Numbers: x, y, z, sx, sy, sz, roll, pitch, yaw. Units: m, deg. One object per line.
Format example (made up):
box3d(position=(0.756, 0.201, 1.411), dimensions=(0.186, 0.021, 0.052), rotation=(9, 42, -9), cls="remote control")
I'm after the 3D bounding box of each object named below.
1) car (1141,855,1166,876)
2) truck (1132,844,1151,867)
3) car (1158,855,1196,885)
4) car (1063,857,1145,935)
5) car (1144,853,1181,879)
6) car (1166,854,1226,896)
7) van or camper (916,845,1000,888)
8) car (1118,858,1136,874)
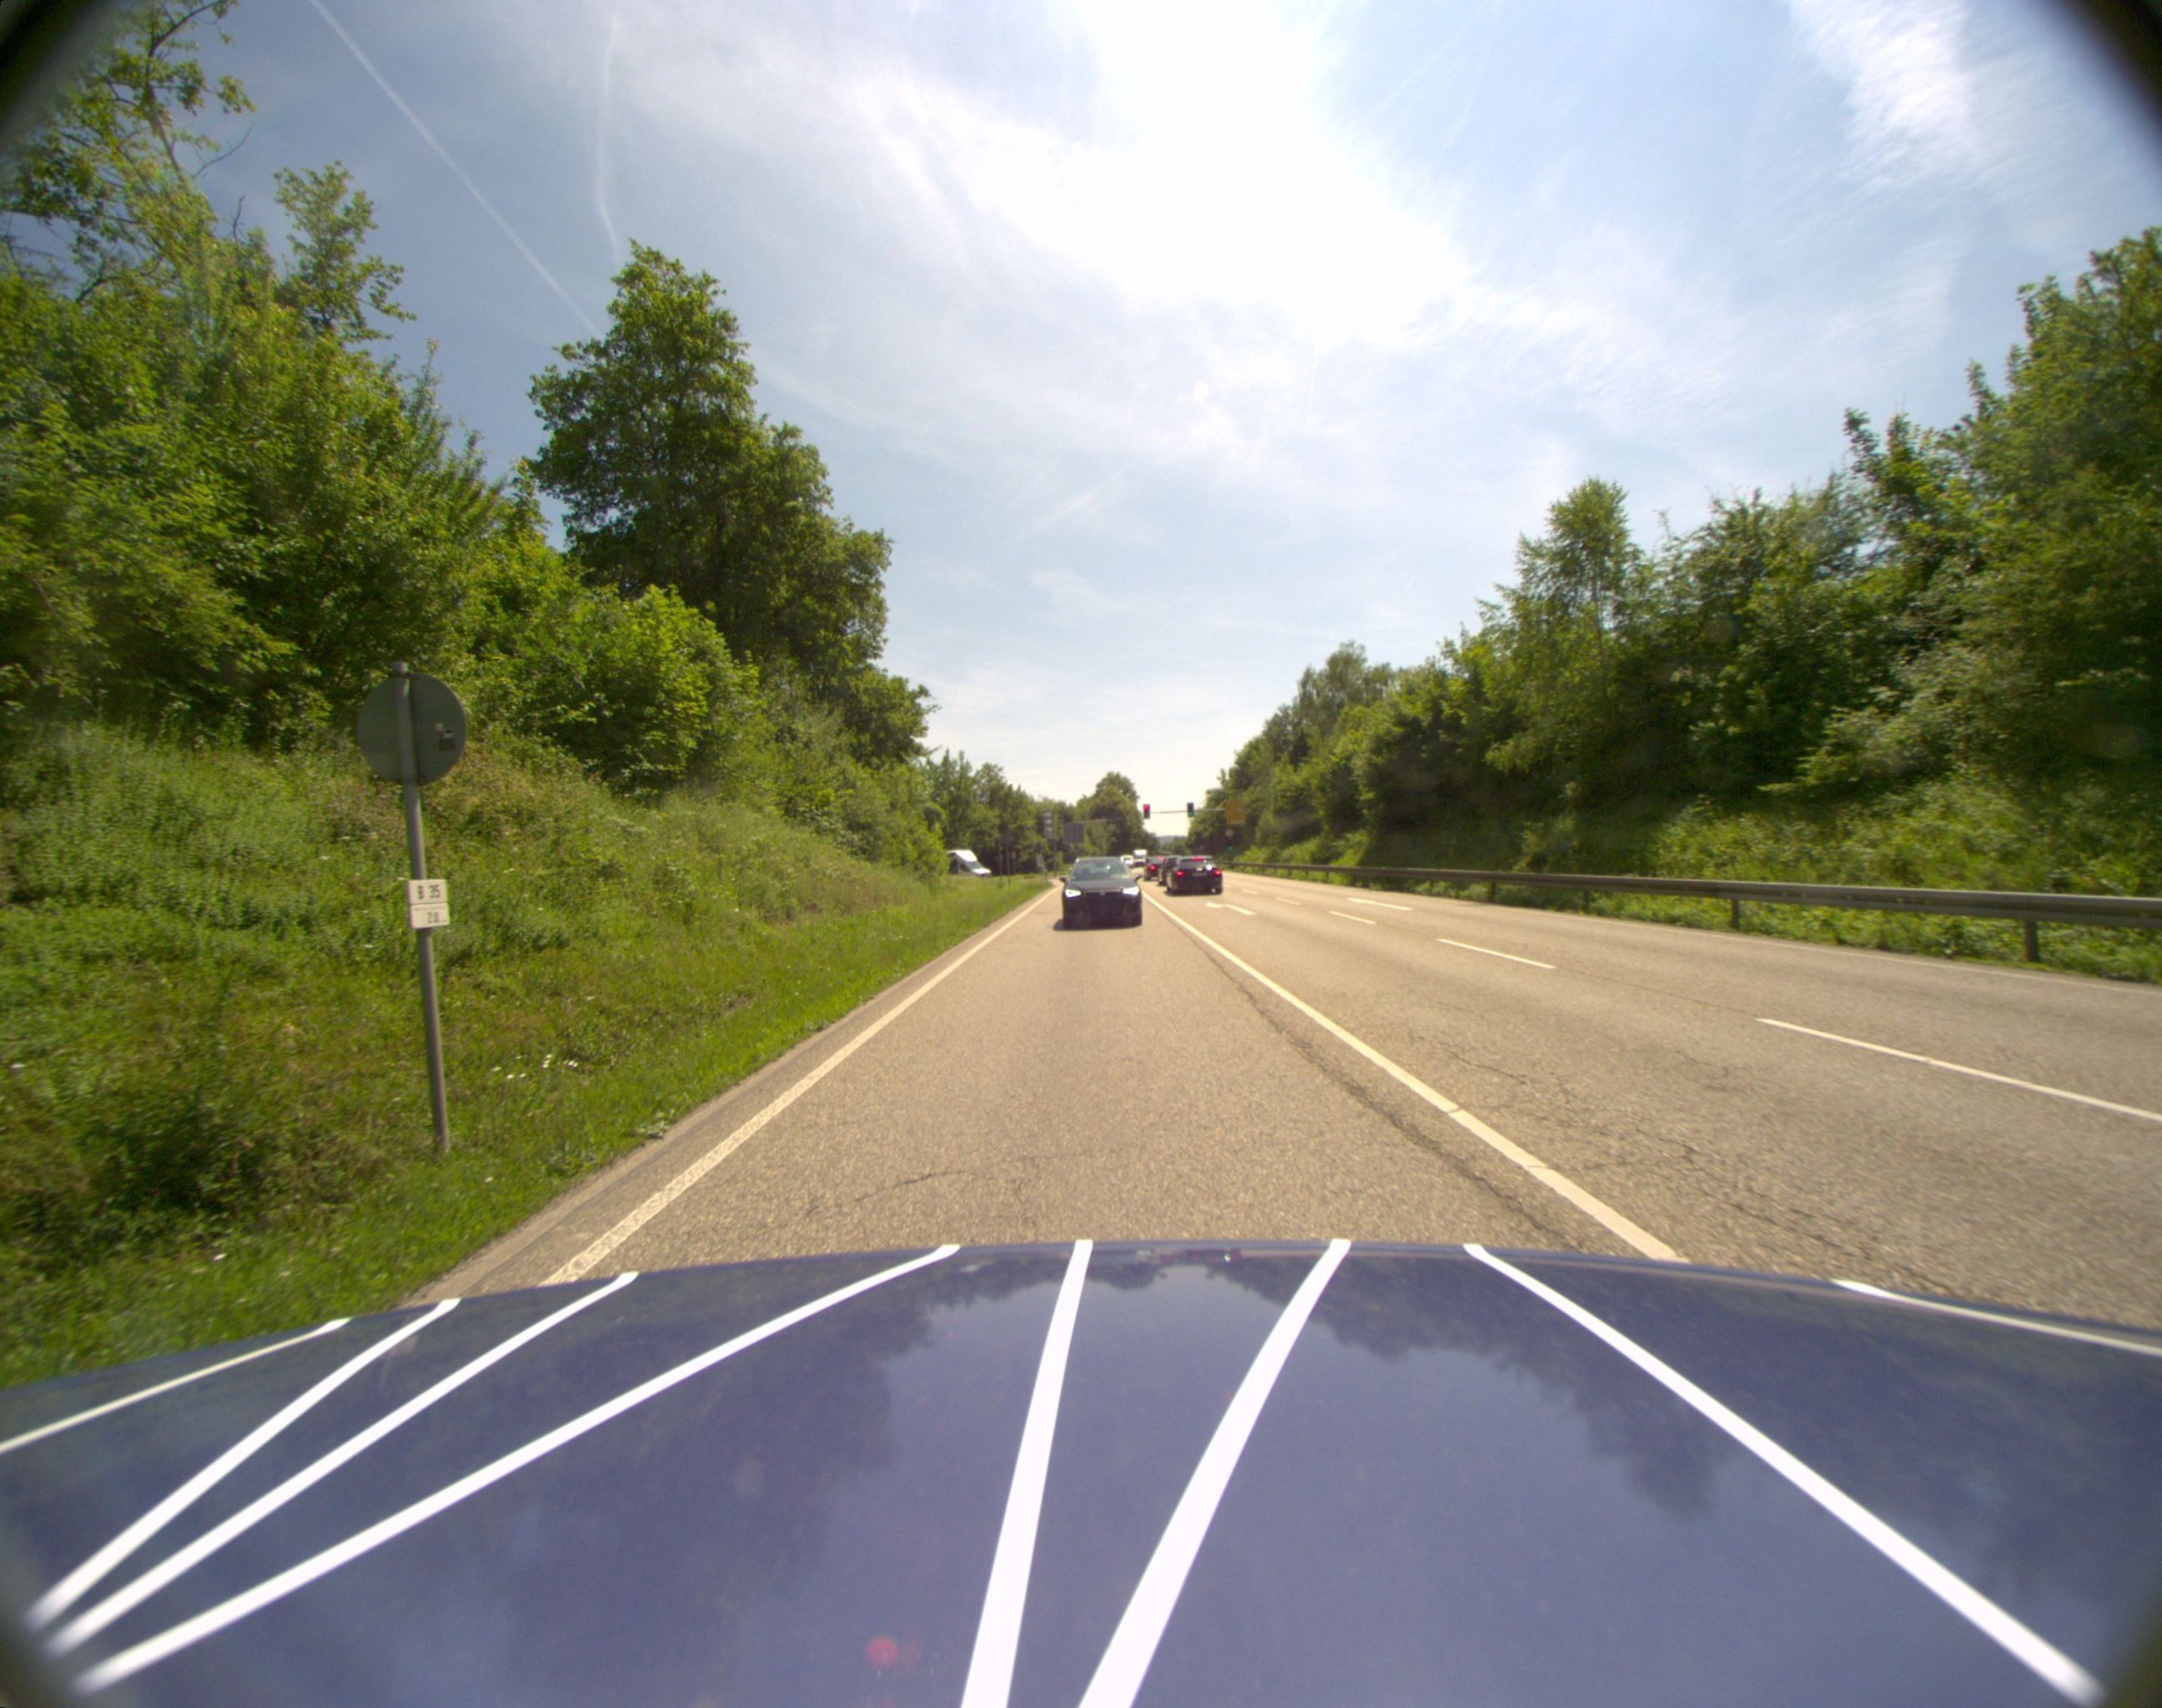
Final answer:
box3d(position=(5.339, 0.806, 56.280), dimensions=(1.570, 1.431, 3.771), rotation=(-2, 0, 3), cls="car")
box3d(position=(11.535, 0.220, 144.106), dimensions=(2.838, 3.795, 8.454), rotation=(-4, 1, 9), cls="truck")
box3d(position=(4.715, 0.770, 37.794), dimensions=(1.685, 1.406, 4.183), rotation=(-1, 0, 5), cls="car")
box3d(position=(0.547, 0.872, 17.721), dimensions=(1.626, 1.535, 4.000), rotation=(-2, 0, 2), cls="car")
box3d(position=(4.936, 0.710, 46.538), dimensions=(1.786, 1.438, 4.641), rotation=(-2, 0, 1), cls="car")
box3d(position=(4.361, 0.750, 29.408), dimensions=(1.808, 1.445, 4.387), rotation=(-2, 0, 2), cls="car")
box3d(position=(-10.853, 1.116, 66.857), dimensions=(7.236, 3.193, 2.108), rotation=(-5, 1, 29), cls="van or camper")
box3d(position=(6.201, 1.596, 102.038), dimensions=(1.998, 2.002, 4.002), rotation=(-4, 0, 6), cls="car")
